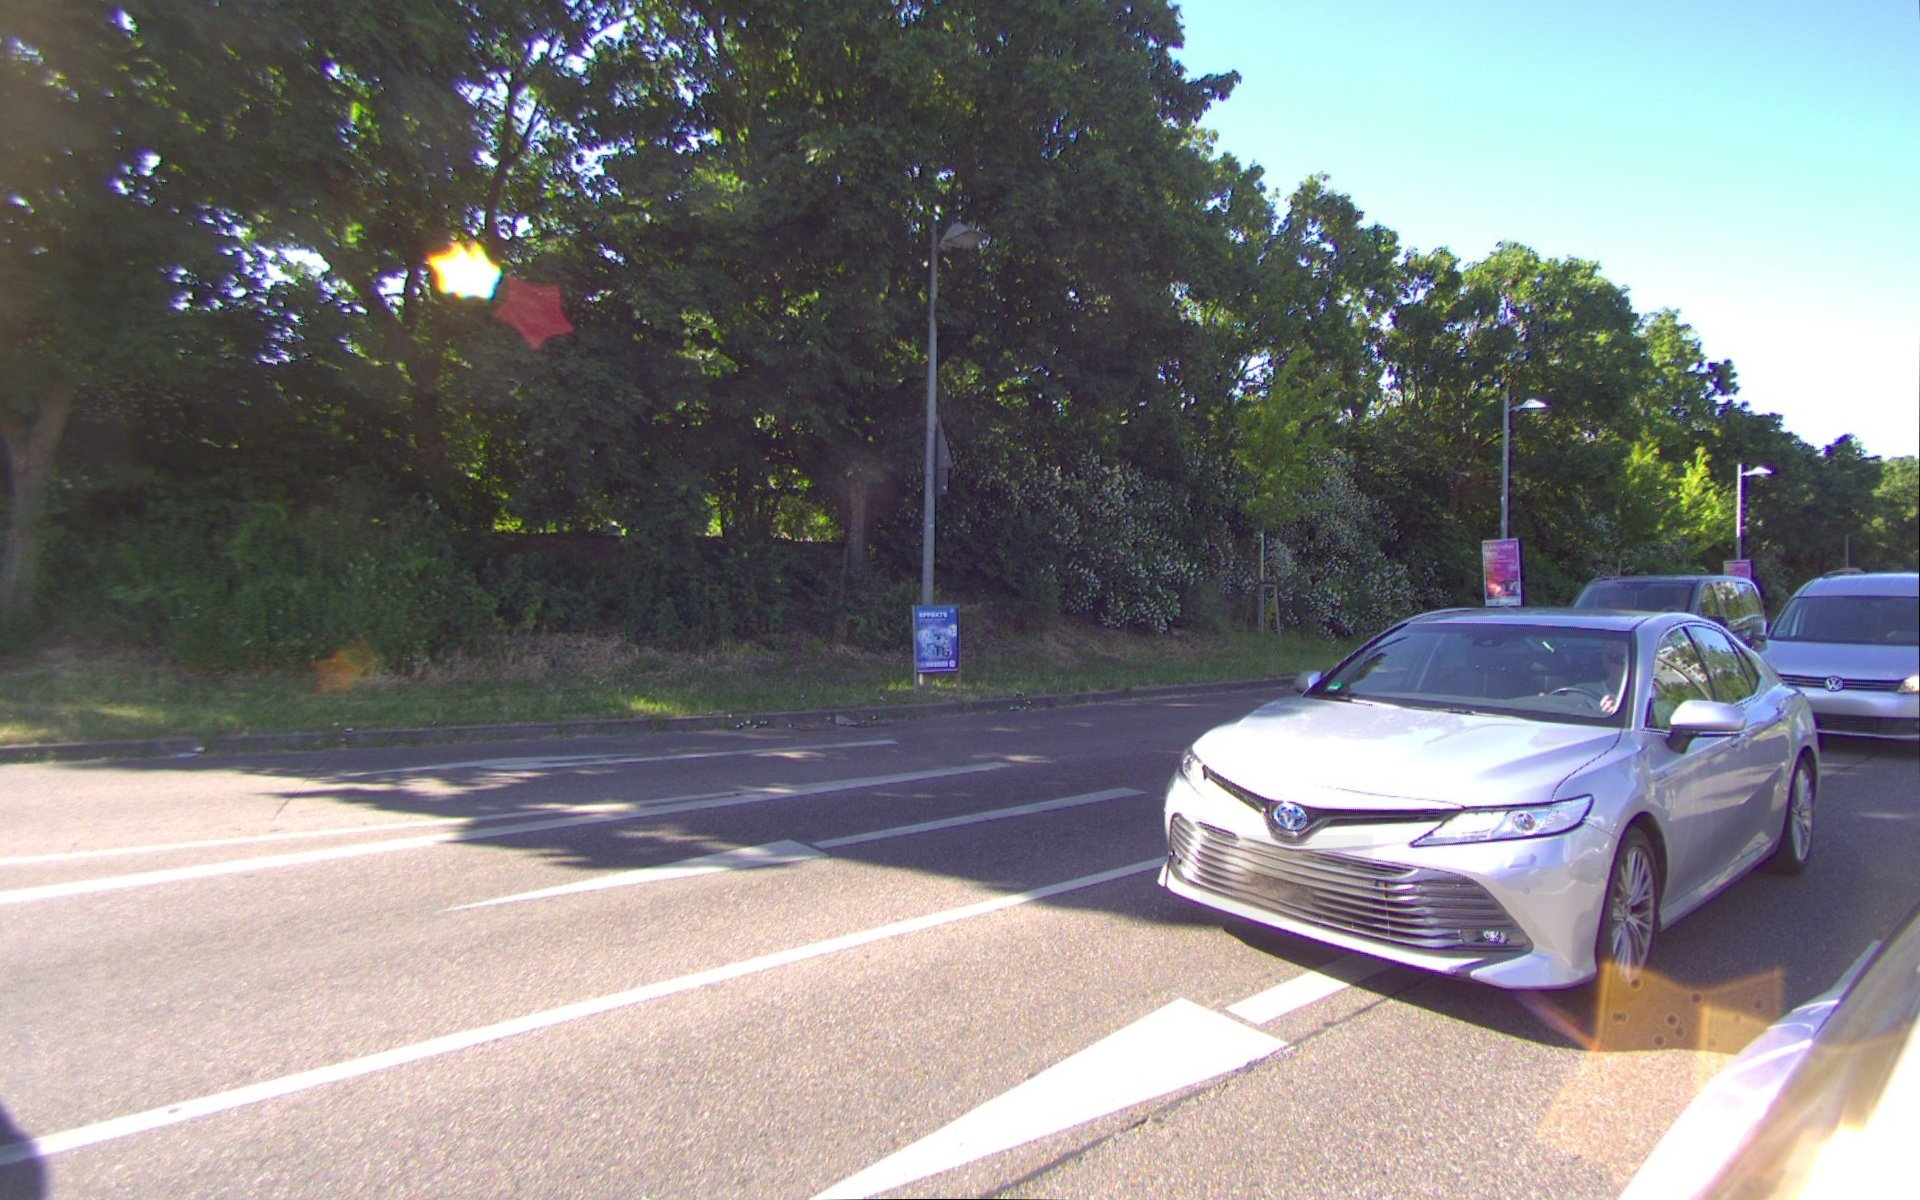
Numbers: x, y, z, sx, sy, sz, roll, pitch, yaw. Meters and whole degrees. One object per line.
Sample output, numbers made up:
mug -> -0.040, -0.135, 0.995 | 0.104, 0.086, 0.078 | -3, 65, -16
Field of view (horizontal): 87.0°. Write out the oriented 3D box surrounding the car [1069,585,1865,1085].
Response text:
car -> 2.953, 0.692, 5.352 | 4.664, 1.477, 2.069 | 0, 2, -40

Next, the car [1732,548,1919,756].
car -> 10.324, 0.464, 11.230 | 4.540, 1.928, 1.822 | 0, 1, -40

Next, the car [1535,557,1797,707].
car -> 10.788, 0.371, 15.311 | 5.056, 1.917, 1.998 | 0, 1, -40
